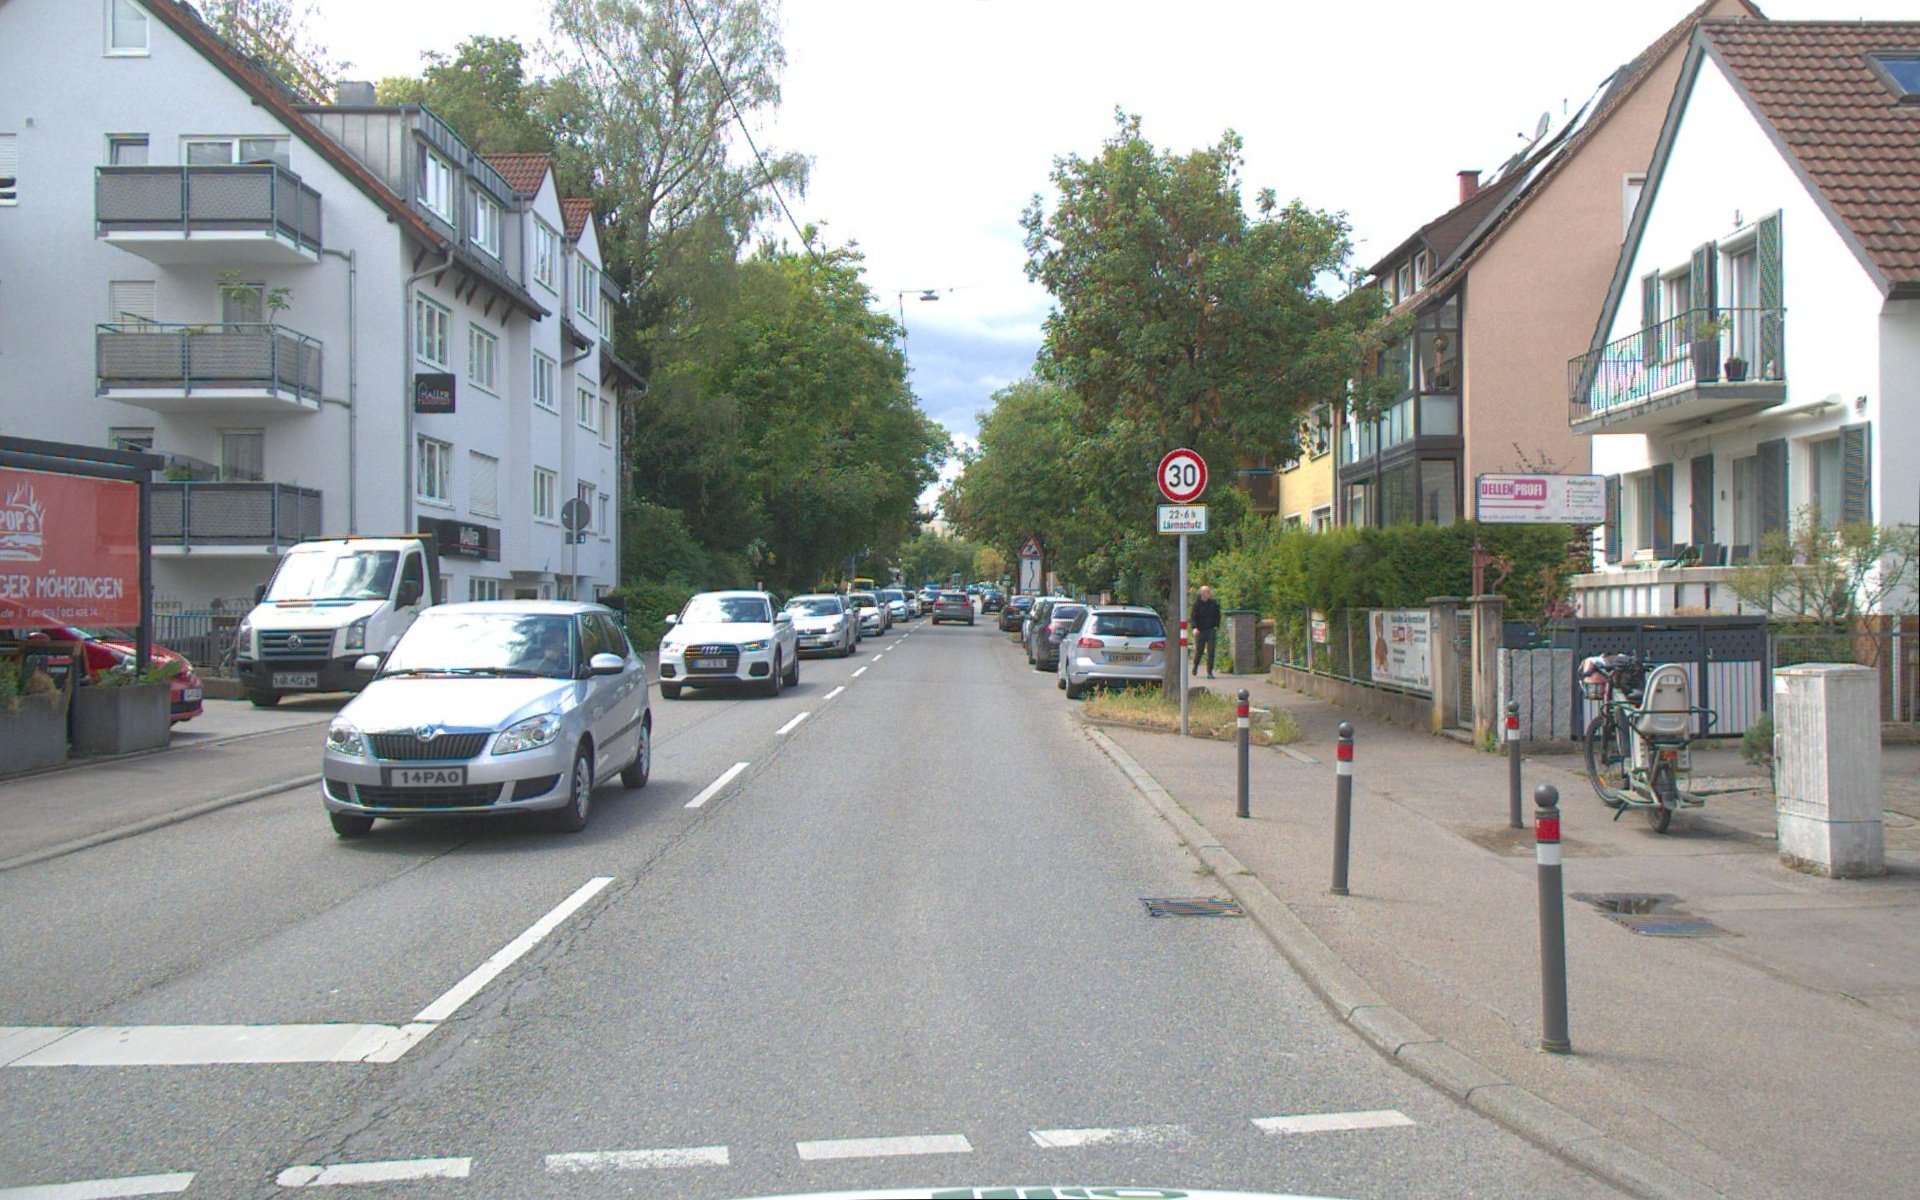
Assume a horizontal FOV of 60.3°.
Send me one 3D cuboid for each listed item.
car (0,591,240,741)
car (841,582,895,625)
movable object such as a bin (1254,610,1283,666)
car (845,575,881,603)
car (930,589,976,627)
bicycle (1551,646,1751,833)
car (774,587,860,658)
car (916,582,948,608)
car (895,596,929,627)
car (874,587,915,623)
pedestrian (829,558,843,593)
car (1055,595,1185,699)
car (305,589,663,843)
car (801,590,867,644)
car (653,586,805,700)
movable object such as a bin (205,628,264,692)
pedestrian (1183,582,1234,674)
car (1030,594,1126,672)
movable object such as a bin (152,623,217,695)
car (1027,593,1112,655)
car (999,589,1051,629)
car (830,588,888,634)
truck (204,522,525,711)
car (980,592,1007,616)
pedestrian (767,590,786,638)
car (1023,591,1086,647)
[{"bbox_3d":[-9.640,0.640,17.085,3.619,1.450,1.804,1,0,-4],"label":"car"},{"bbox_3d":[-3.701,0.113,67.112,1.888,1.573,4.086,-3,1,0],"label":"car"},{"bbox_3d":[6.091,0.751,32.704,0.512,1.099,0.604,0,-1,5],"label":"movable object such as a bin"},{"bbox_3d":[-7.037,-0.780,120.826,2.101,2.015,4.932,0,0,3],"label":"car"},{"bbox_3d":[-0.289,0.333,74.920,1.935,1.539,4.267,3,1,1],"label":"car"},{"bbox_3d":[4.924,0.943,11.947,0.705,1.170,2.214,0,0,5],"label":"bicycle"},{"bbox_3d":[-3.402,0.499,39.999,1.693,1.529,4.375,-2,1,-1],"label":"car"},{"bbox_3d":[-1.734,-0.309,104.299,1.752,1.569,4.265,-2,1,2],"label":"car"},{"bbox_3d":[-2.732,0.621,94.296,1.748,1.619,4.154,-2,1,0],"label":"car"},{"bbox_3d":[-3.208,0.213,81.893,1.749,1.676,4.491,-2,1,0],"label":"car"},{"bbox_3d":[-6.267,-1.236,83.768,0.700,1.793,1.121,0,-1,-5],"label":"pedestrian"},{"bbox_3d":[2.557,0.702,27.456,1.666,1.506,4.872,1,1,0],"label":"car"},{"bbox_3d":[-3.183,0.681,11.795,1.585,1.512,3.811,0,0,-2],"label":"car"},{"bbox_3d":[-3.813,0.499,50.672,1.674,1.481,4.286,-3,0,-1],"label":"car"},{"bbox_3d":[-3.549,0.615,26.137,1.769,1.598,4.159,-2,0,0],"label":"car"},{"bbox_3d":[-13.078,1.074,29.815,0.722,1.120,0.706,0,-1,4],"label":"movable object such as a bin"},{"bbox_3d":[4.747,0.531,31.660,0.862,1.742,0.842,0,-1,1],"label":"pedestrian"},{"bbox_3d":[2.491,0.667,35.900,1.699,1.453,4.883,3,1,0],"label":"car"},{"bbox_3d":[-13.964,1.055,29.793,0.792,1.280,0.709,0,-1,4],"label":"movable object such as a bin"},{"bbox_3d":[2.700,0.564,41.807,1.952,1.448,4.589,0,1,1],"label":"car"},{"bbox_3d":[2.564,0.338,66.079,1.765,1.470,4.886,2,0,-1],"label":"car"},{"bbox_3d":[-3.471,0.363,57.238,1.724,1.464,3.970,-2,1,0],"label":"car"},{"bbox_3d":[-8.484,0.227,24.401,2.178,2.421,6.327,0,0,3],"label":"truck"},{"bbox_3d":[2.248,0.261,110.236,1.778,1.527,4.268,1,1,2],"label":"car"},{"bbox_3d":[-6.513,0.497,58.830,0.640,1.696,0.931,0,-1,-5],"label":"pedestrian"},{"bbox_3d":[2.652,0.510,47.207,1.588,1.534,3.779,0,1,0],"label":"car"}]
